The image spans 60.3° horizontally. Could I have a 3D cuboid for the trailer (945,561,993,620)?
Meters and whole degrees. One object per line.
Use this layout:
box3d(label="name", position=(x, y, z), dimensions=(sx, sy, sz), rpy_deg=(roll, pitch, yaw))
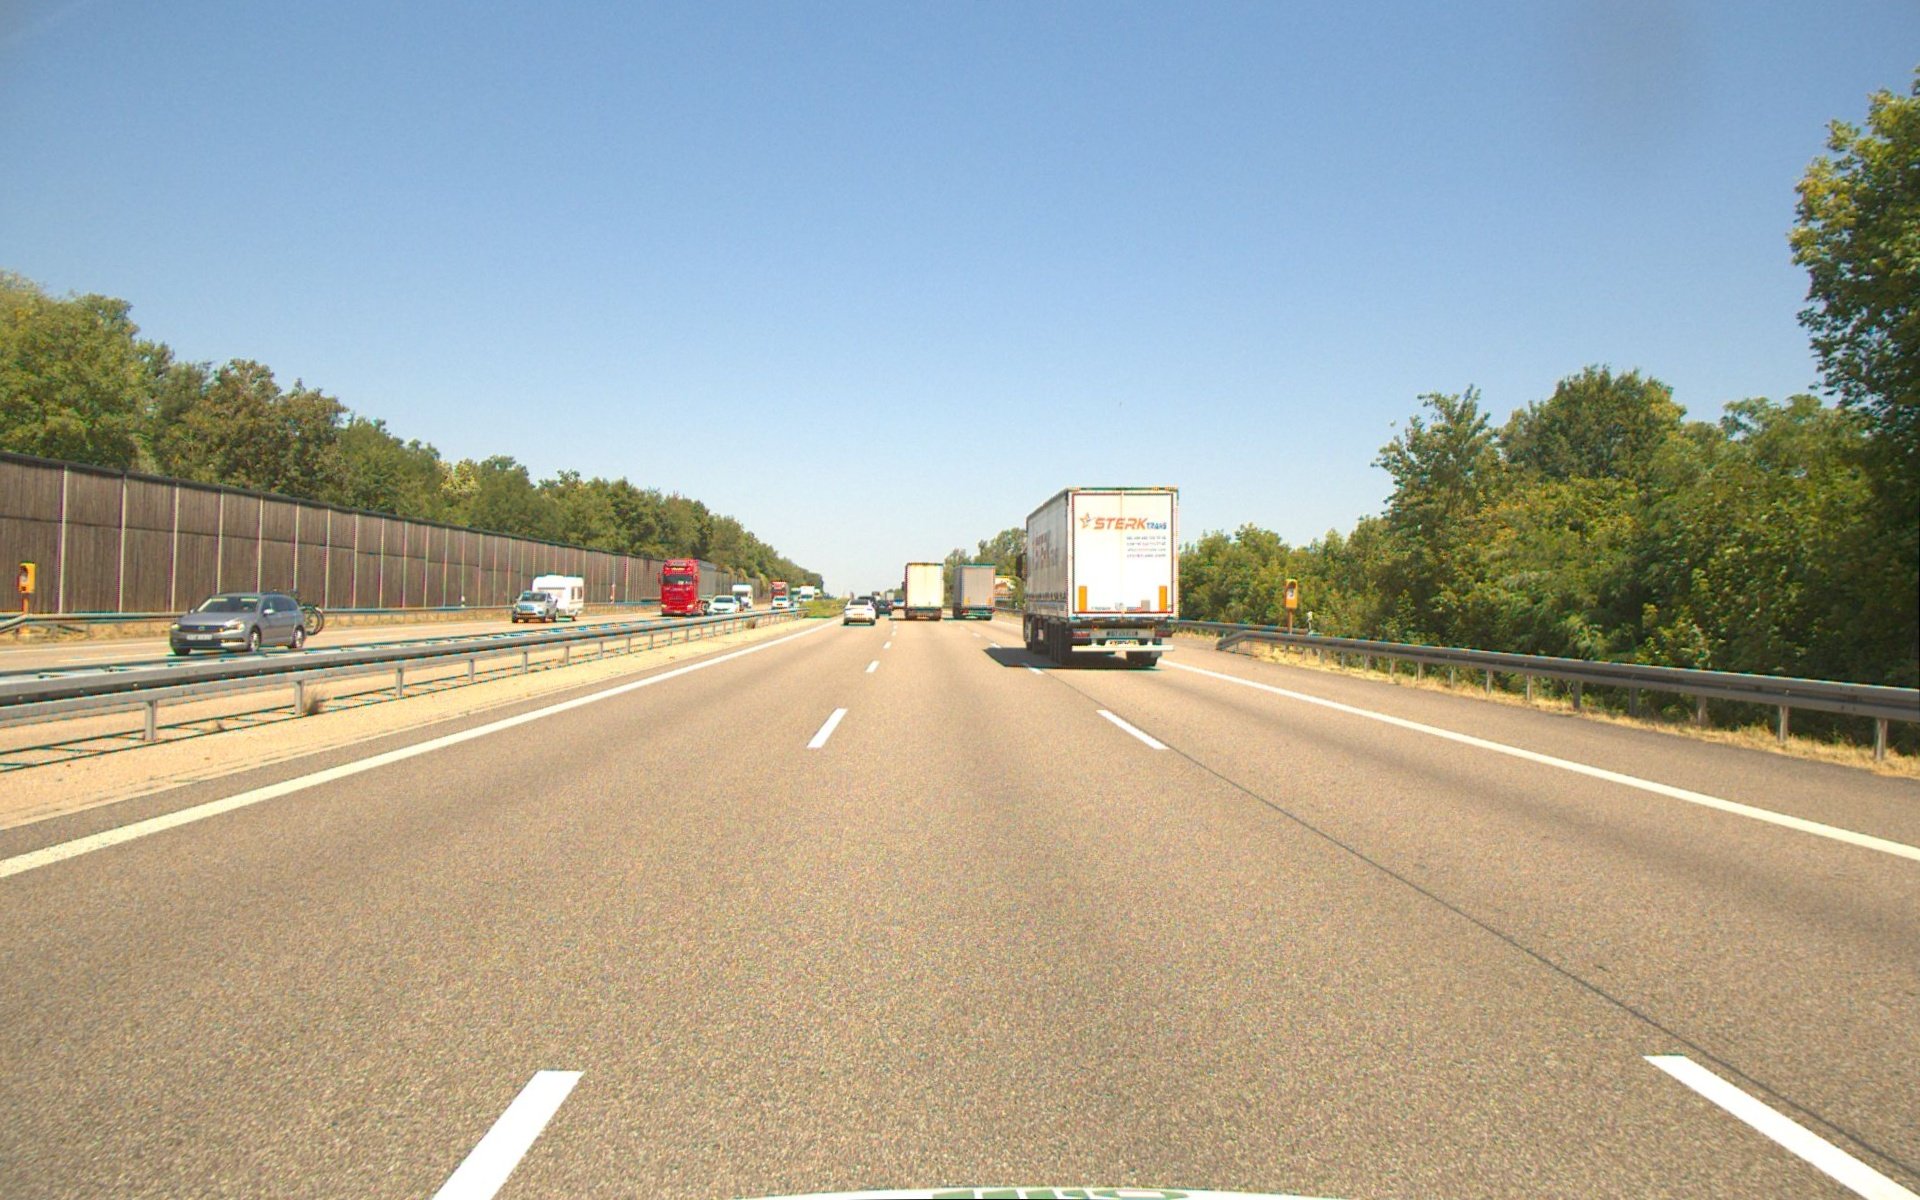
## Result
box3d(label="trailer", position=(0.623, -0.679, 129.985), dimensions=(2.650, 4.289, 13.200), rpy_deg=(2, 0, -4))

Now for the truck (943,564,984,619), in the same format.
box3d(label="truck", position=(0.234, -0.663, 135.520), dimensions=(2.638, 4.289, 7.831), rpy_deg=(2, 0, -4))

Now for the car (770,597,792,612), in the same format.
box3d(label="car", position=(-18.191, 0.449, 167.840), dimensions=(1.768, 1.571, 4.245), rpy_deg=(1, 0, 0))

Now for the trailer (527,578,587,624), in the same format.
box3d(label="trailer", position=(-22.686, 0.032, 93.435), dimensions=(2.088, 2.520, 6.265), rpy_deg=(0, 0, -3))

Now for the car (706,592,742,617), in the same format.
box3d(label="car", position=(-15.530, 0.288, 108.877), dimensions=(1.861, 1.547, 4.417), rpy_deg=(0, 0, -2))

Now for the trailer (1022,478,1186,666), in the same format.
box3d(label="trailer", position=(3.468, -0.613, 43.899), dimensions=(2.652, 4.160, 14.145), rpy_deg=(1, 0, -2))

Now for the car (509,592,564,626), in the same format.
box3d(label="car", position=(-22.468, 0.458, 87.861), dimensions=(1.861, 1.741, 4.903), rpy_deg=(0, 0, -3))

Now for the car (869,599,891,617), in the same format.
box3d(label="car", position=(-7.289, 0.718, 150.695), dimensions=(1.819, 1.645, 3.996), rpy_deg=(1, 0, -5))

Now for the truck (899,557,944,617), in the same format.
box3d(label="truck", position=(-2.949, -0.908, 122.833), dimensions=(2.653, 4.157, 13.462), rpy_deg=(2, 0, -4))

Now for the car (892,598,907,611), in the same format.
box3d(label="car", position=(-7.661, 0.546, 209.315), dimensions=(1.818, 1.645, 3.997), rpy_deg=(1, 0, -4))

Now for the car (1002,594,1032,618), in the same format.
box3d(label="car", position=(4.003, 0.435, 115.842), dimensions=(1.818, 1.645, 3.998), rpy_deg=(1, 0, -2))

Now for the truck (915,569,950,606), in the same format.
box3d(label="truck", position=(-3.553, -1.578, 210.089), dimensions=(3.310, 4.378, 11.435), rpy_deg=(4, 0, -6))

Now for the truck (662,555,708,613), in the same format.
box3d(label="truck", position=(-20.261, -1.132, 122.147), dimensions=(2.310, 4.147, 7.150), rpy_deg=(1, 0, -2))

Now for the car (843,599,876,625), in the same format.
box3d(label="car", position=(-5.830, 0.685, 96.144), dimensions=(1.818, 1.512, 3.998), rpy_deg=(1, 0, -3))

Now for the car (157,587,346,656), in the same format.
box3d(label="car", position=(-17.172, 0.481, 40.489), dimensions=(2.081, 1.549, 5.981), rpy_deg=(1, 0, -1))

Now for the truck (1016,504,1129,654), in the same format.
box3d(label="truck", position=(3.290, -0.588, 49.955), dimensions=(2.653, 4.160, 6.961), rpy_deg=(1, 0, -2))
